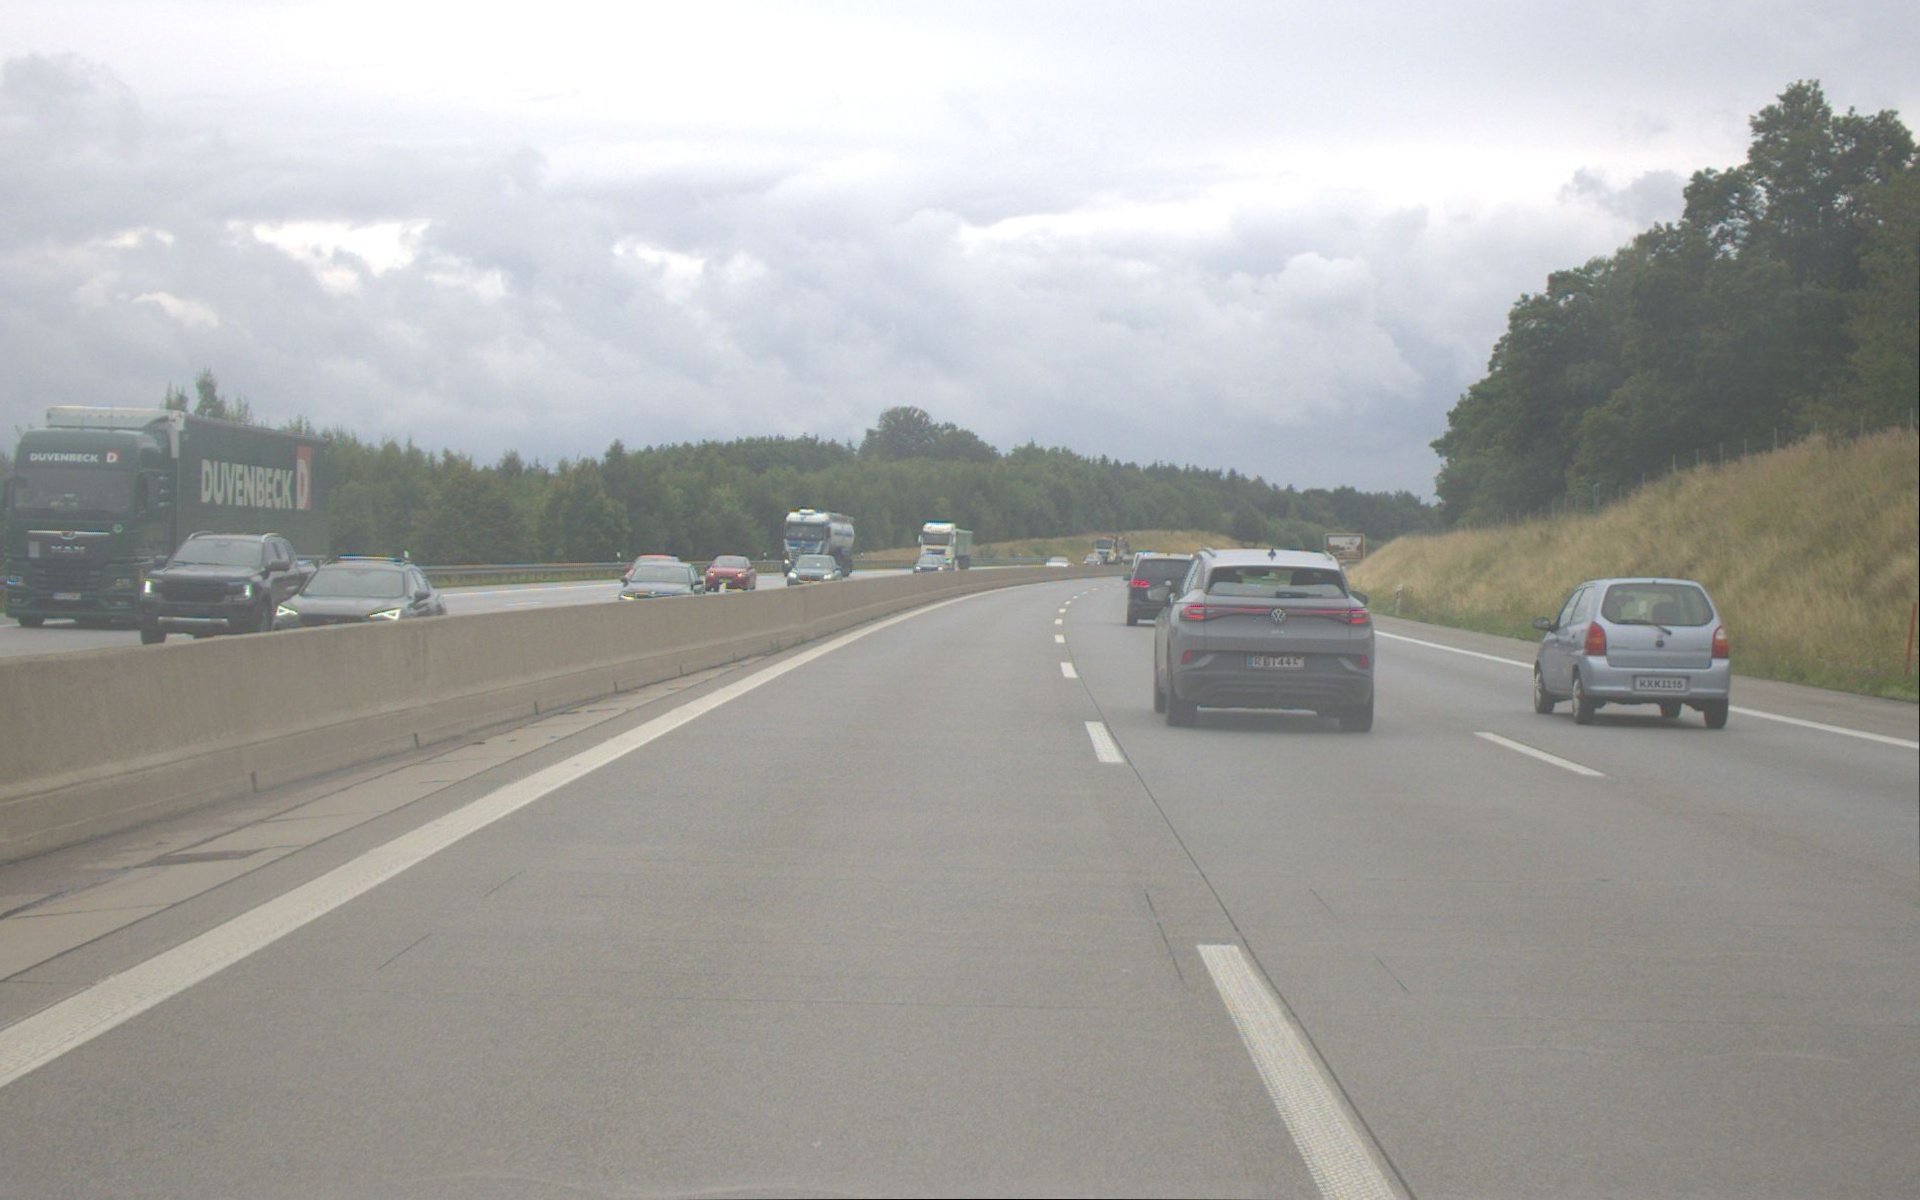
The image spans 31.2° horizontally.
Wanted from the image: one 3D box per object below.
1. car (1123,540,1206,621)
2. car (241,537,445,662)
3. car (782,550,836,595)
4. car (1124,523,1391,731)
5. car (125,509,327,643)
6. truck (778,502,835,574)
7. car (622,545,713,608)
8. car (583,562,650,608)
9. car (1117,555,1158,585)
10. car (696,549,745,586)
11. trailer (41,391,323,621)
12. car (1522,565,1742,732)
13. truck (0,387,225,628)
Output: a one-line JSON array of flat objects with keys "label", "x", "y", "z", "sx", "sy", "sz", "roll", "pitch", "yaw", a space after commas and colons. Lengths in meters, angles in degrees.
[{"label": "car", "x": 4.723, "y": -0.478, "z": 79.808, "sx": 1.785, "sy": 1.741, "sz": 3.915, "roll": -1, "pitch": 2, "yaw": 2}, {"label": "car", "x": -8.385, "y": -0.046, "z": 47.076, "sx": 1.993, "sy": 1.513, "sz": 4.398, "roll": -1, "pitch": 2, "yaw": 0}, {"label": "car", "x": -5.787, "y": -1.060, "z": 131.978, "sx": 1.722, "sy": 1.582, "sz": 4.972, "roll": 0, "pitch": 2, "yaw": 1}, {"label": "car", "x": 2.686, "y": 0.169, "z": 32.198, "sx": 1.898, "sy": 1.684, "sz": 5.267, "roll": -1, "pitch": 2, "yaw": -1}, {"label": "car", "x": -11.801, "y": -0.439, "z": 55.629, "sx": 1.993, "sy": 1.967, "sz": 5.331, "roll": -1, "pitch": 2, "yaw": 1}, {"label": "truck", "x": -9.005, "y": -3.685, "z": 202.489, "sx": 2.747, "sy": 3.985, "sz": 6.930, "roll": 2, "pitch": 2, "yaw": 1}, {"label": "car", "x": -6.976, "y": -0.589, "z": 82.421, "sx": 1.772, "sy": 1.353, "sz": 4.367, "roll": -1, "pitch": 2, "yaw": 0}, {"label": "car", "x": -11.538, "y": -0.496, "z": 115.671, "sx": 1.718, "sy": 1.503, "sz": 4.486, "roll": 0, "pitch": 0, "yaw": 1}, {"label": "car", "x": 9.603, "y": -1.640, "z": 185.546, "sx": 1.842, "sy": 1.495, "sz": 3.999, "roll": -1, "pitch": 2, "yaw": 8}, {"label": "car", "x": -9.544, "y": -1.312, "z": 137.345, "sx": 1.518, "sy": 1.388, "sz": 4.487, "roll": 2, "pitch": 1, "yaw": 1}, {"label": "trailer", "x": -15.906, "y": -1.991, "z": 71.371, "sx": 2.765, "sy": 4.267, "sz": 12.169, "roll": 2, "pitch": 2, "yaw": 1}, {"label": "car", "x": 6.695, "y": 0.444, "z": 34.529, "sx": 1.485, "sy": 1.465, "sz": 3.505, "roll": 1, "pitch": 2, "yaw": 0}, {"label": "truck", "x": -16.106, "y": -1.768, "z": 65.122, "sx": 2.789, "sy": 4.248, "sz": 6.050, "roll": 2, "pitch": 2, "yaw": 1}]
